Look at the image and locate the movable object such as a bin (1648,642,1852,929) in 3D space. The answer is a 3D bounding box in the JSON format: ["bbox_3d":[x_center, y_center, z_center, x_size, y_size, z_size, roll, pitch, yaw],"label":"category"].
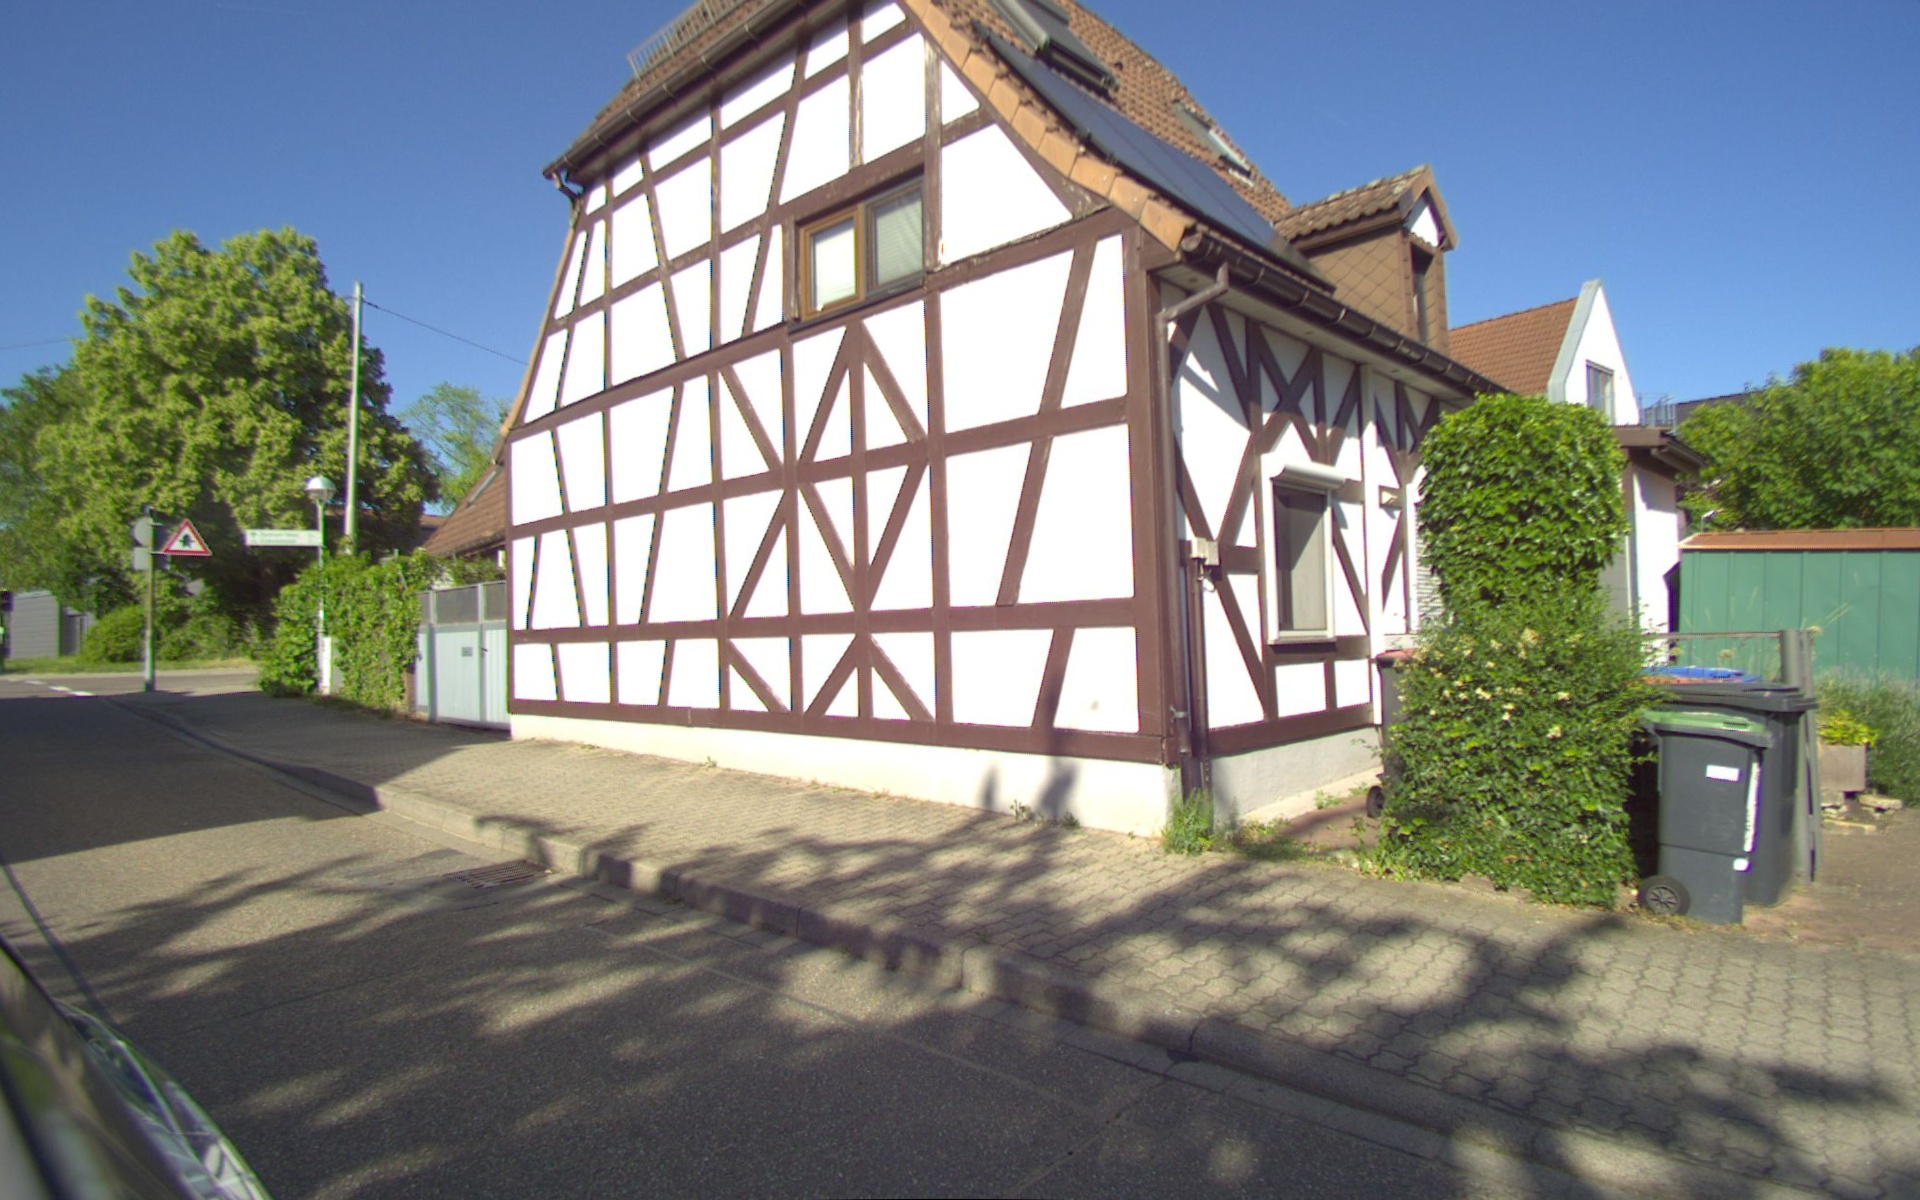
[{"bbox_3d":[3.509,0.768,4.508,0.667,1.149,0.471,-2,-2,41],"label":"movable object such as a bin"}]

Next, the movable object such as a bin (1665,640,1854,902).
[{"bbox_3d":[3.866,0.776,4.907,0.667,1.149,0.471,-2,-2,41],"label":"movable object such as a bin"}]

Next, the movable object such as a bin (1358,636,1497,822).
[{"bbox_3d":[2.822,0.747,6.132,0.394,1.048,0.648,1,-2,-42],"label":"movable object such as a bin"}]
